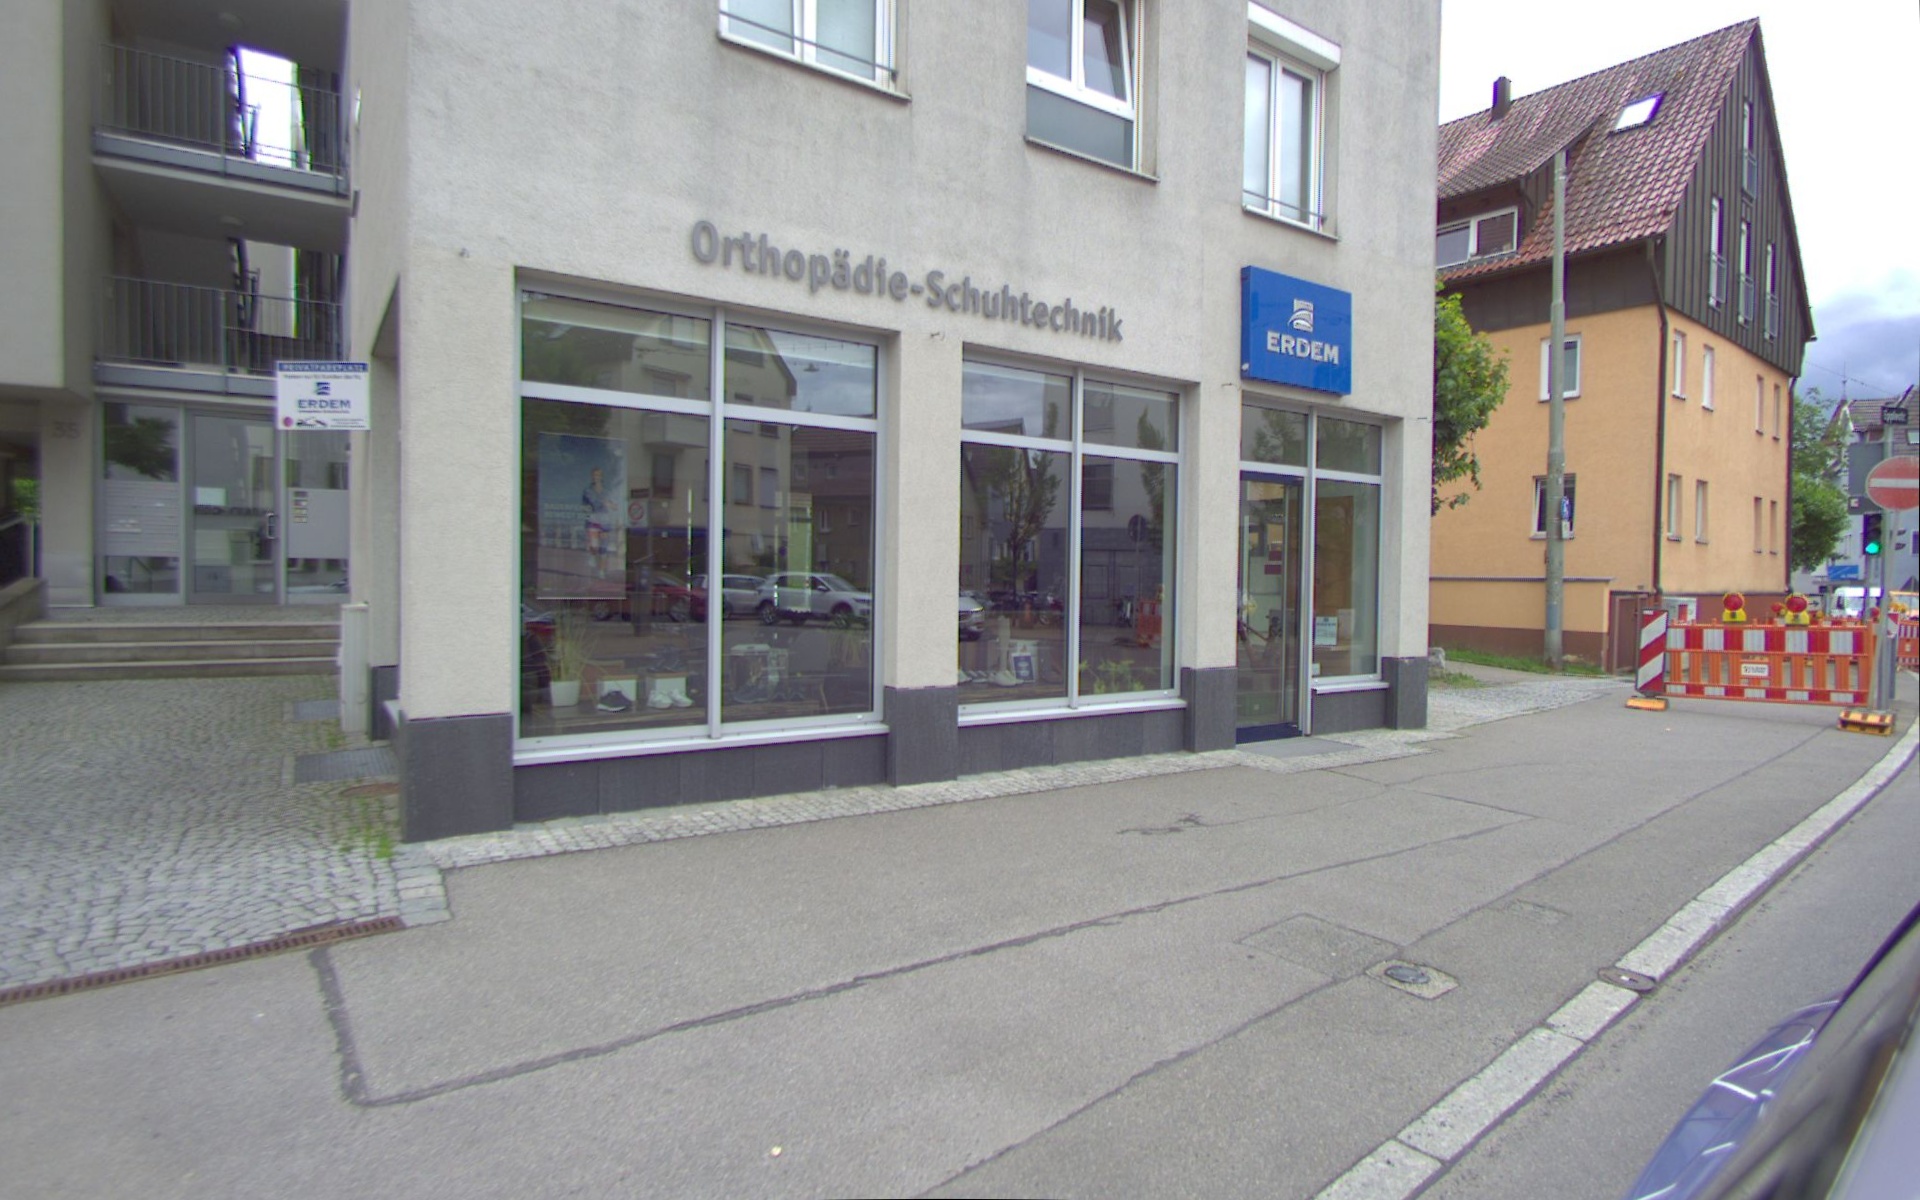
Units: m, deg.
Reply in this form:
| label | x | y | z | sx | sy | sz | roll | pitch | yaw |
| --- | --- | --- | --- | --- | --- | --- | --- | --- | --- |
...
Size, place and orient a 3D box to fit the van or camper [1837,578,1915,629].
| label | x | y | z | sx | sy | sz | roll | pitch | yaw |
| --- | --- | --- | --- | --- | --- | --- | --- | --- | --- |
| van or camper | 51.264 | 0.202 | 56.775 | 2.311 | 2.640 | 6.131 | 2 | 1 | 34 |

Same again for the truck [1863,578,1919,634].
| label | x | y | z | sx | sy | sz | roll | pitch | yaw |
| --- | --- | --- | --- | --- | --- | --- | --- | --- | --- |
| truck | 45.483 | 0.322 | 48.121 | 2.401 | 2.496 | 6.242 | 3 | 1 | 29 |

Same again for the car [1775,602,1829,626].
| label | x | y | z | sx | sy | sz | roll | pitch | yaw |
| --- | --- | --- | --- | --- | --- | --- | --- | --- | --- |
| car | 55.511 | 0.893 | 66.794 | 1.786 | 1.429 | 3.963 | 3 | 1 | 26 |
